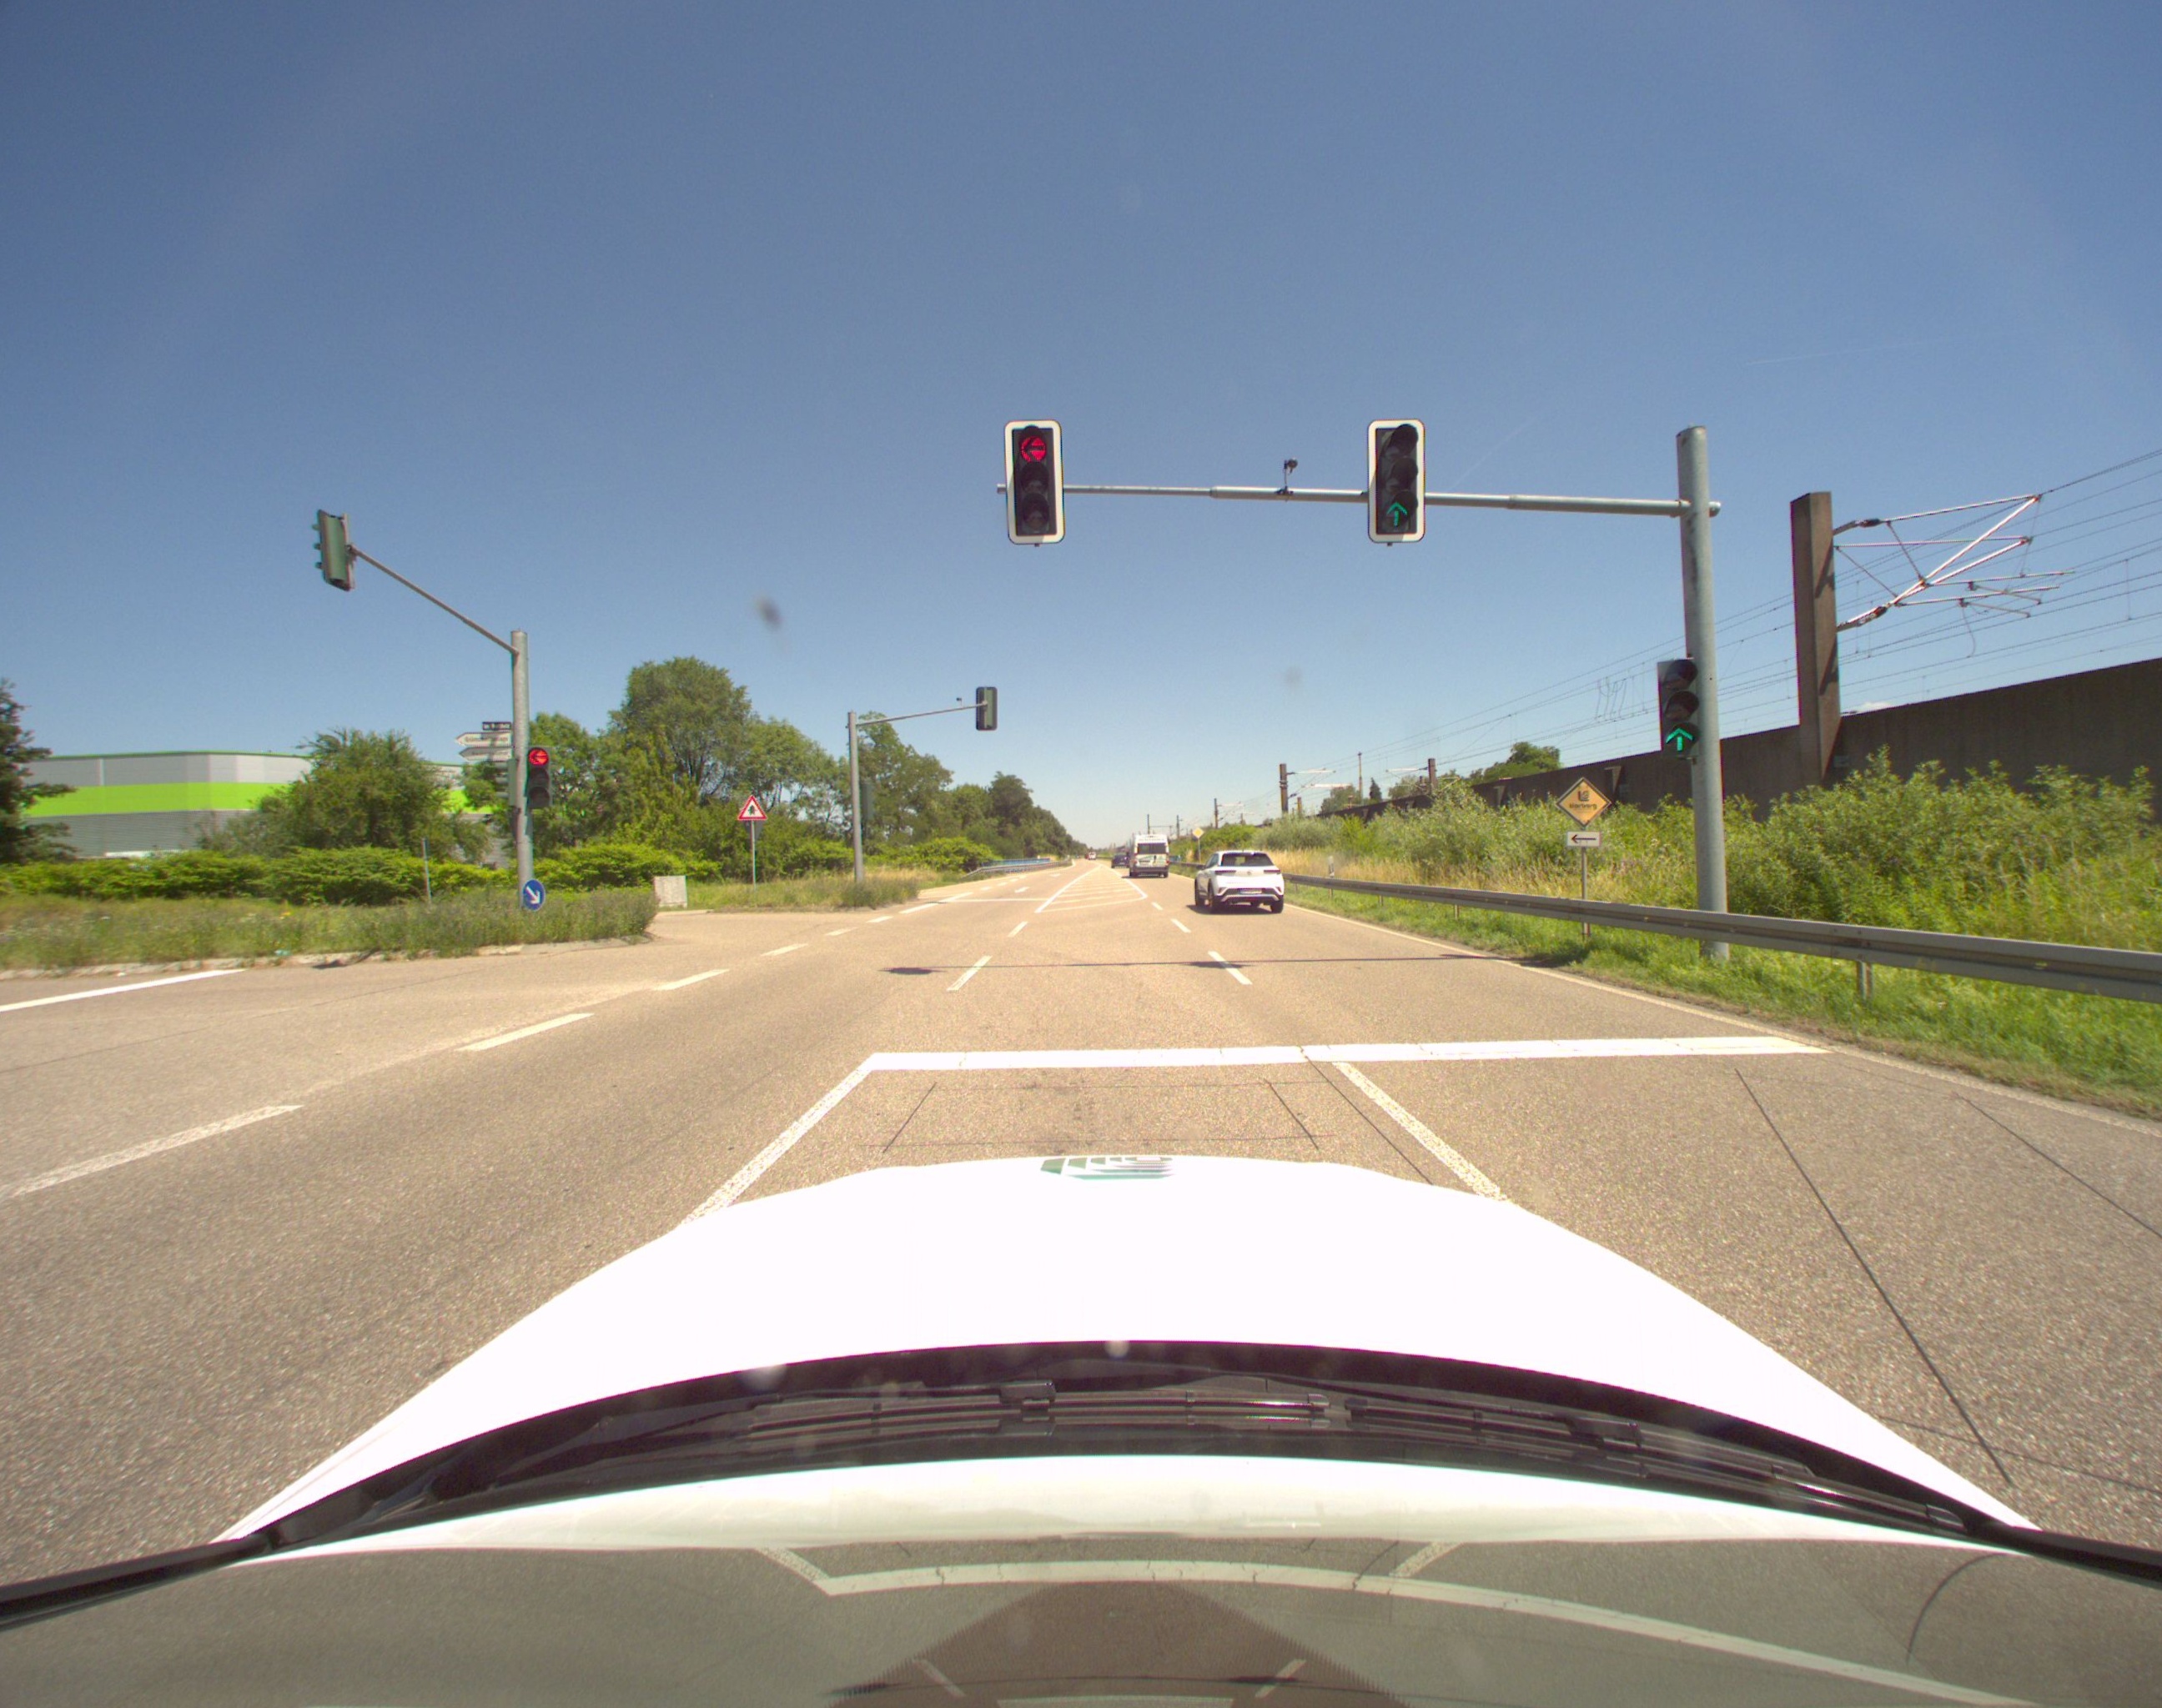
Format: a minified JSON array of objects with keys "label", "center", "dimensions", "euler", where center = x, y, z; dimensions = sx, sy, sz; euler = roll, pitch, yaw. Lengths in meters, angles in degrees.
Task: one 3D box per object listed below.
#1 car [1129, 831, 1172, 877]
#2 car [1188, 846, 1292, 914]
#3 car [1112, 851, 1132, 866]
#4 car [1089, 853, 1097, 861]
[{"label":"car","center":[4.144,-0.011,49.640],"dimensions":[2.180,2.604,6.752],"euler":[-1,0,1]},{"label":"car","center":[4.038,0.622,21.345],"dimensions":[1.812,1.564,4.277],"euler":[-1,0,-1]},{"label":"car","center":[4.142,0.432,82.770],"dimensions":[1.850,1.379,4.504],"euler":[-1,0,1]},{"label":"car","center":[3.089,0.758,213.420],"dimensions":[1.987,1.983,4.059],"euler":[-1,0,0]}]
